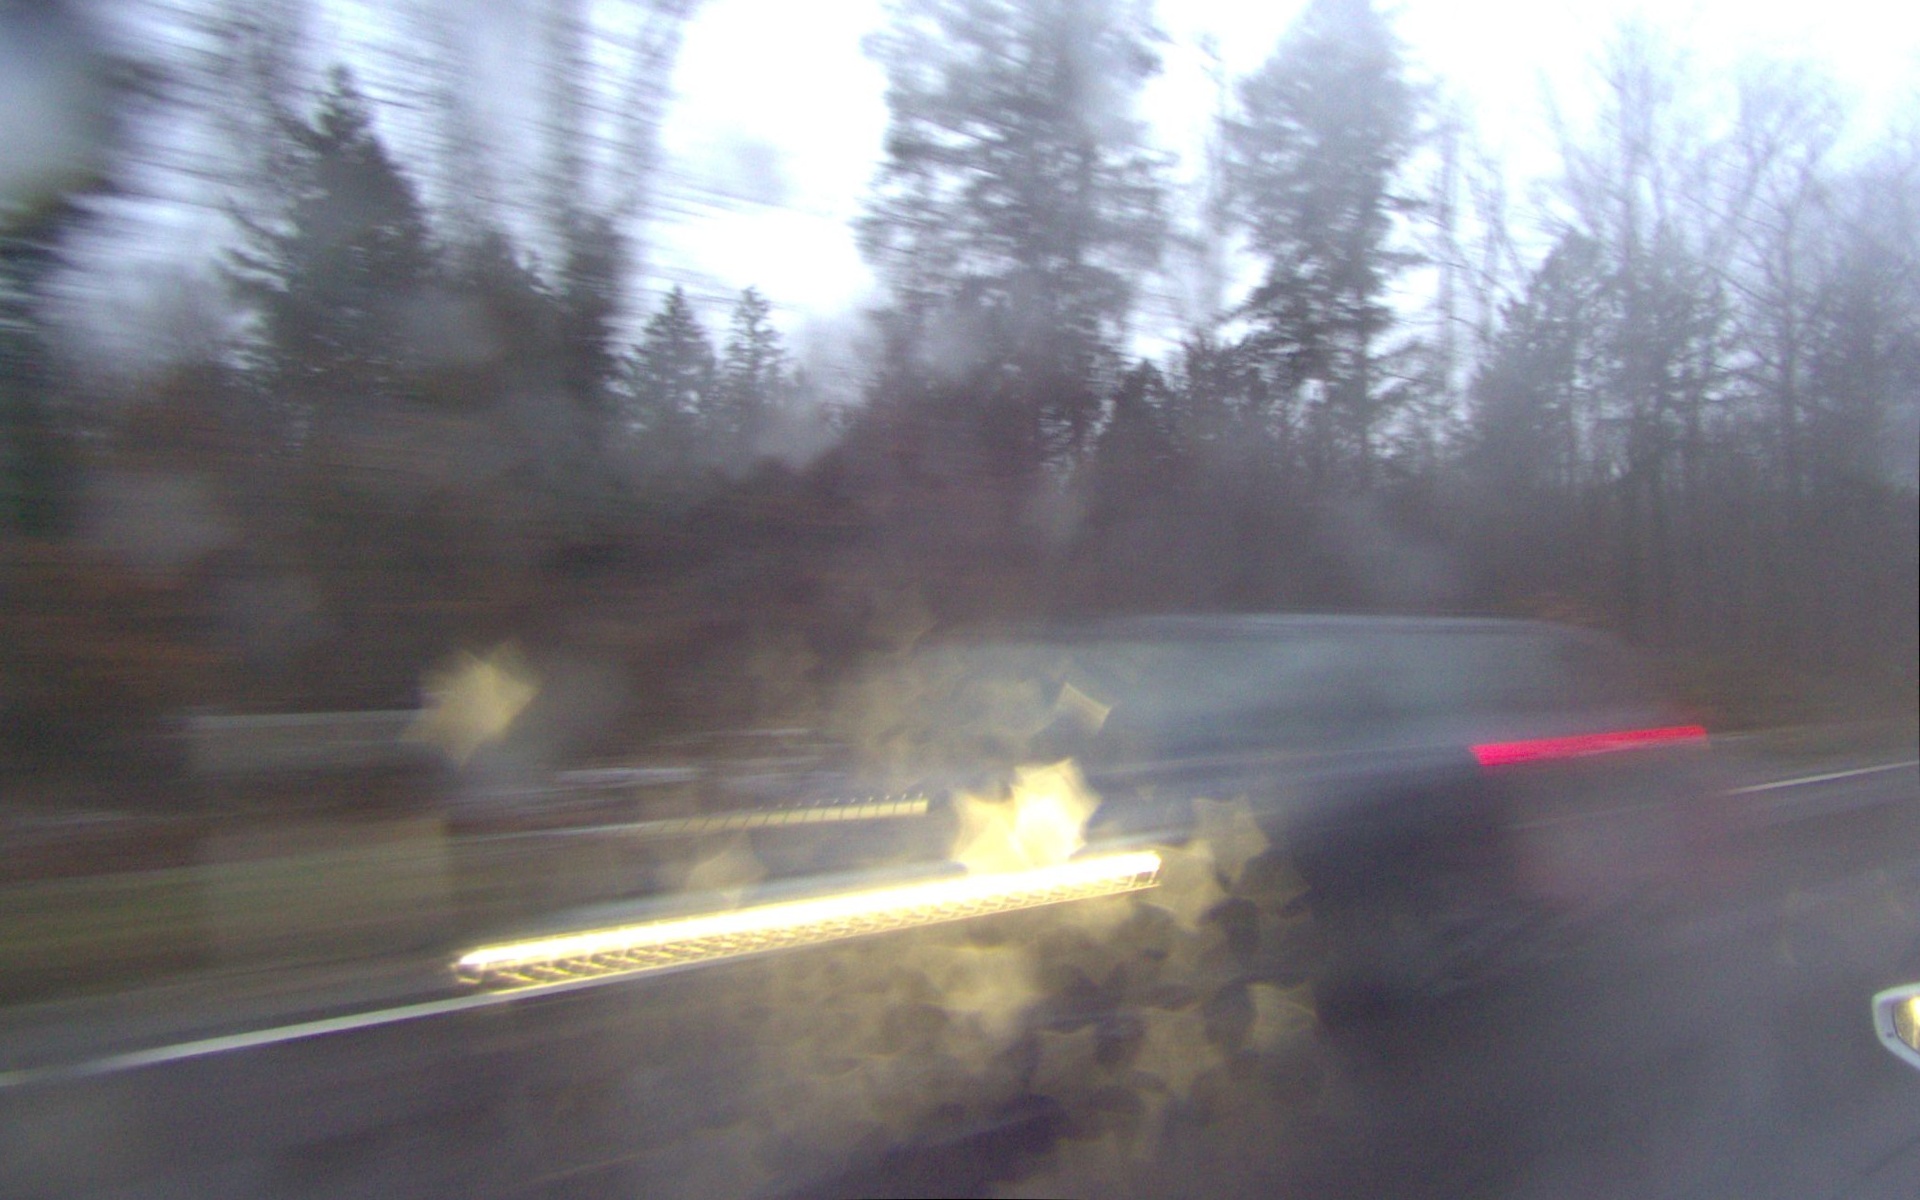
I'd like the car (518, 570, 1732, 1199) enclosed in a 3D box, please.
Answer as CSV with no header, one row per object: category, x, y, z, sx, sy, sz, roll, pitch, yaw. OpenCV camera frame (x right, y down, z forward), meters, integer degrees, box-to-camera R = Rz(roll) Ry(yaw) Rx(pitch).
car,0.862,0.805,4.231,4.865,1.588,1.967,1,-2,-28
